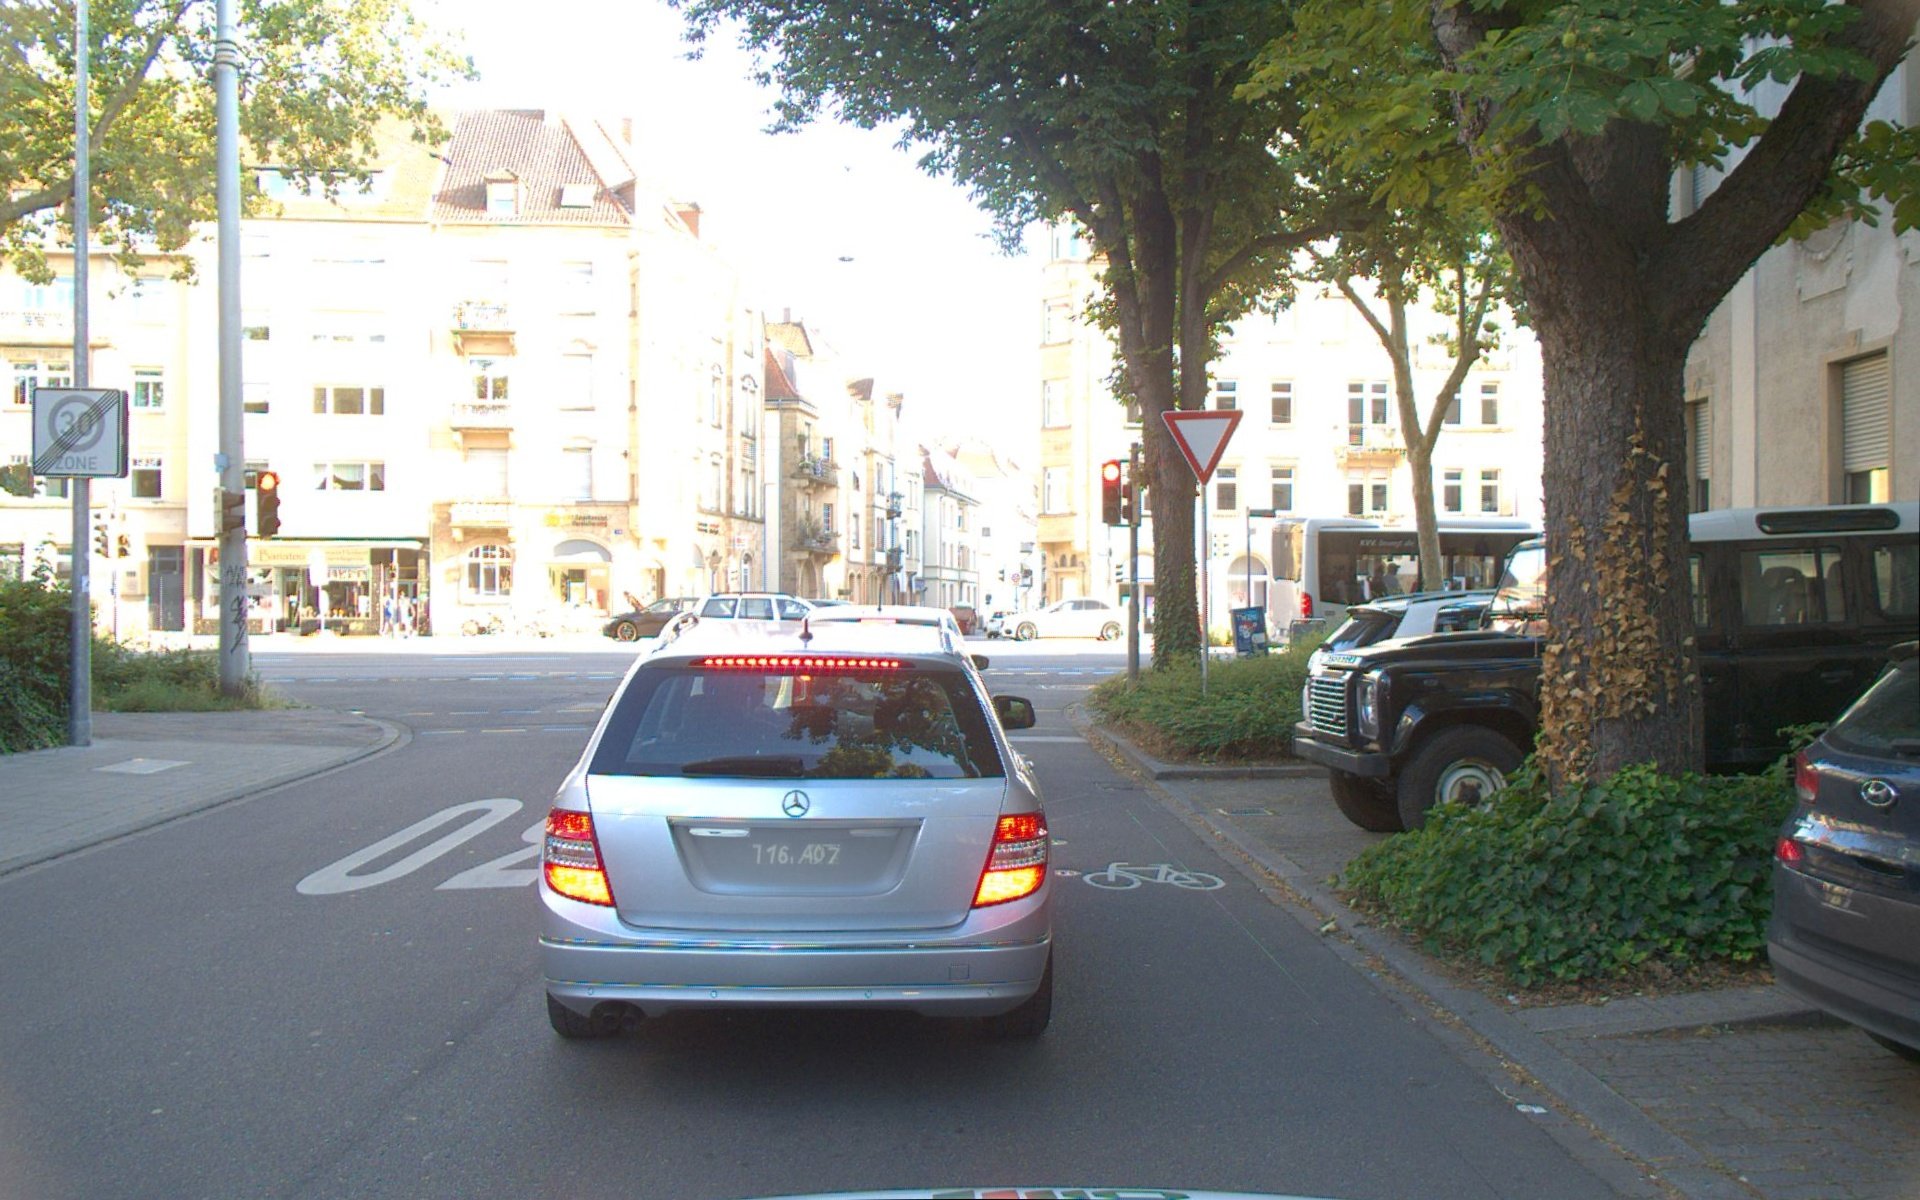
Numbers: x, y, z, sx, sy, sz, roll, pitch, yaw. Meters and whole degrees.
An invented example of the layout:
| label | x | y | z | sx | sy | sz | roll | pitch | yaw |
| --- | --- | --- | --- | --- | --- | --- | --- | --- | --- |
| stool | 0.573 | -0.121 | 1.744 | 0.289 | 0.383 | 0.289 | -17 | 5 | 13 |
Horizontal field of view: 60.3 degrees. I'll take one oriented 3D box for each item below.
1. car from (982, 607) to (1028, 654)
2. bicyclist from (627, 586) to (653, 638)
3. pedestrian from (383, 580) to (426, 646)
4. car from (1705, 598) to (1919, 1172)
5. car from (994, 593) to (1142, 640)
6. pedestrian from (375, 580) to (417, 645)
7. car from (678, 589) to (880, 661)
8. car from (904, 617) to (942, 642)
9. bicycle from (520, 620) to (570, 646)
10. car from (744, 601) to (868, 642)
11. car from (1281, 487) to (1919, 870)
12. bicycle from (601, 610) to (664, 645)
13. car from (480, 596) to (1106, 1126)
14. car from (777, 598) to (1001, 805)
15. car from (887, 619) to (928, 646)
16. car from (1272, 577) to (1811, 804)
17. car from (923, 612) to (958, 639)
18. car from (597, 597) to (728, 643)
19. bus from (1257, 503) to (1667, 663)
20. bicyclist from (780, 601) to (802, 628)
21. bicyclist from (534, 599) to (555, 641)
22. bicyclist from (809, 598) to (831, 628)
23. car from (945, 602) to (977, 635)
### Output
| label | x | y | z | sx | sy | sz | roll | pitch | yaw |
| --- | --- | --- | --- | --- | --- | --- | --- | --- | --- |
| car | 2.358 | 1.564 | 85.903 | 1.987 | 2.319 | 4.003 | 0 | 1 | 7 |
| bicyclist | -11.695 | 0.434 | 60.416 | 0.874 | 1.892 | 0.636 | 0 | 0 | -5 |
| pedestrian | -21.378 | 0.478 | 63.632 | 1.320 | 2.507 | 1.059 | 0 | 0 | -5 |
| car | 4.280 | 0.706 | 4.595 | 3.650 | 1.477 | 1.707 | -1 | 0 | -4 |
| car | 3.517 | 0.534 | 54.362 | 4.613 | 1.486 | 1.834 | 0 | 0 | -7 |
| pedestrian | -22.135 | 0.477 | 64.884 | 1.320 | 2.507 | 1.059 | 0 | 0 | -5 |
| car | -3.937 | 0.522 | 36.038 | 4.263 | 1.523 | 1.659 | 0 | 0 | -7 |
| car | -2.268 | 1.832 | 102.461 | 1.796 | 1.427 | 4.003 | 0 | 1 | 7 |
| bicycle | -14.383 | 1.128 | 57.324 | 1.586 | 0.892 | 0.636 | 0 | 0 | -6 |
| car | -5.247 | 0.730 | 56.382 | 4.140 | 1.372 | 1.662 | 0 | 0 | -7 |
| car | 4.366 | 0.416 | 10.174 | 4.377 | 2.072 | 1.699 | -1 | 0 | -4 |
| bicycle | -11.956 | 0.987 | 60.390 | 2.212 | 1.268 | 0.636 | 0 | 0 | -5 |
| car | -0.555 | 0.739 | 6.934 | 1.741 | 1.477 | 4.546 | 1 | 0 | -2 |
| car | -0.594 | 0.729 | 14.023 | 1.587 | 1.472 | 4.342 | 1 | 0 | -2 |
| car | -3.067 | 1.879 | 96.958 | 1.796 | 1.427 | 4.003 | 0 | 1 | 7 |
| car | 4.507 | 0.664 | 13.142 | 3.650 | 1.597 | 1.707 | -1 | 0 | -4 |
| car | -1.263 | 1.644 | 108.709 | 1.796 | 1.692 | 4.003 | 0 | 1 | 7 |
| car | -9.361 | 0.614 | 52.219 | 3.956 | 1.384 | 1.661 | 0 | 0 | -7 |
| bus | 10.725 | -0.383 | 35.671 | 8.024 | 3.257 | 2.906 | 0 | 0 | -9 |
| bicyclist | -7.484 | 0.643 | 73.330 | 0.754 | 1.177 | 0.753 | 1 | 0 | 10 |
| bicyclist | -14.393 | 0.683 | 57.330 | 0.631 | 1.451 | 0.636 | 0 | 0 | -6 |
| bicyclist | -6.204 | 0.586 | 73.360 | 0.754 | 1.312 | 0.753 | 1 | 0 | 10 |
| car | 0.090 | 1.293 | 117.324 | 1.749 | 2.242 | 4.003 | 0 | 1 | 7 |
